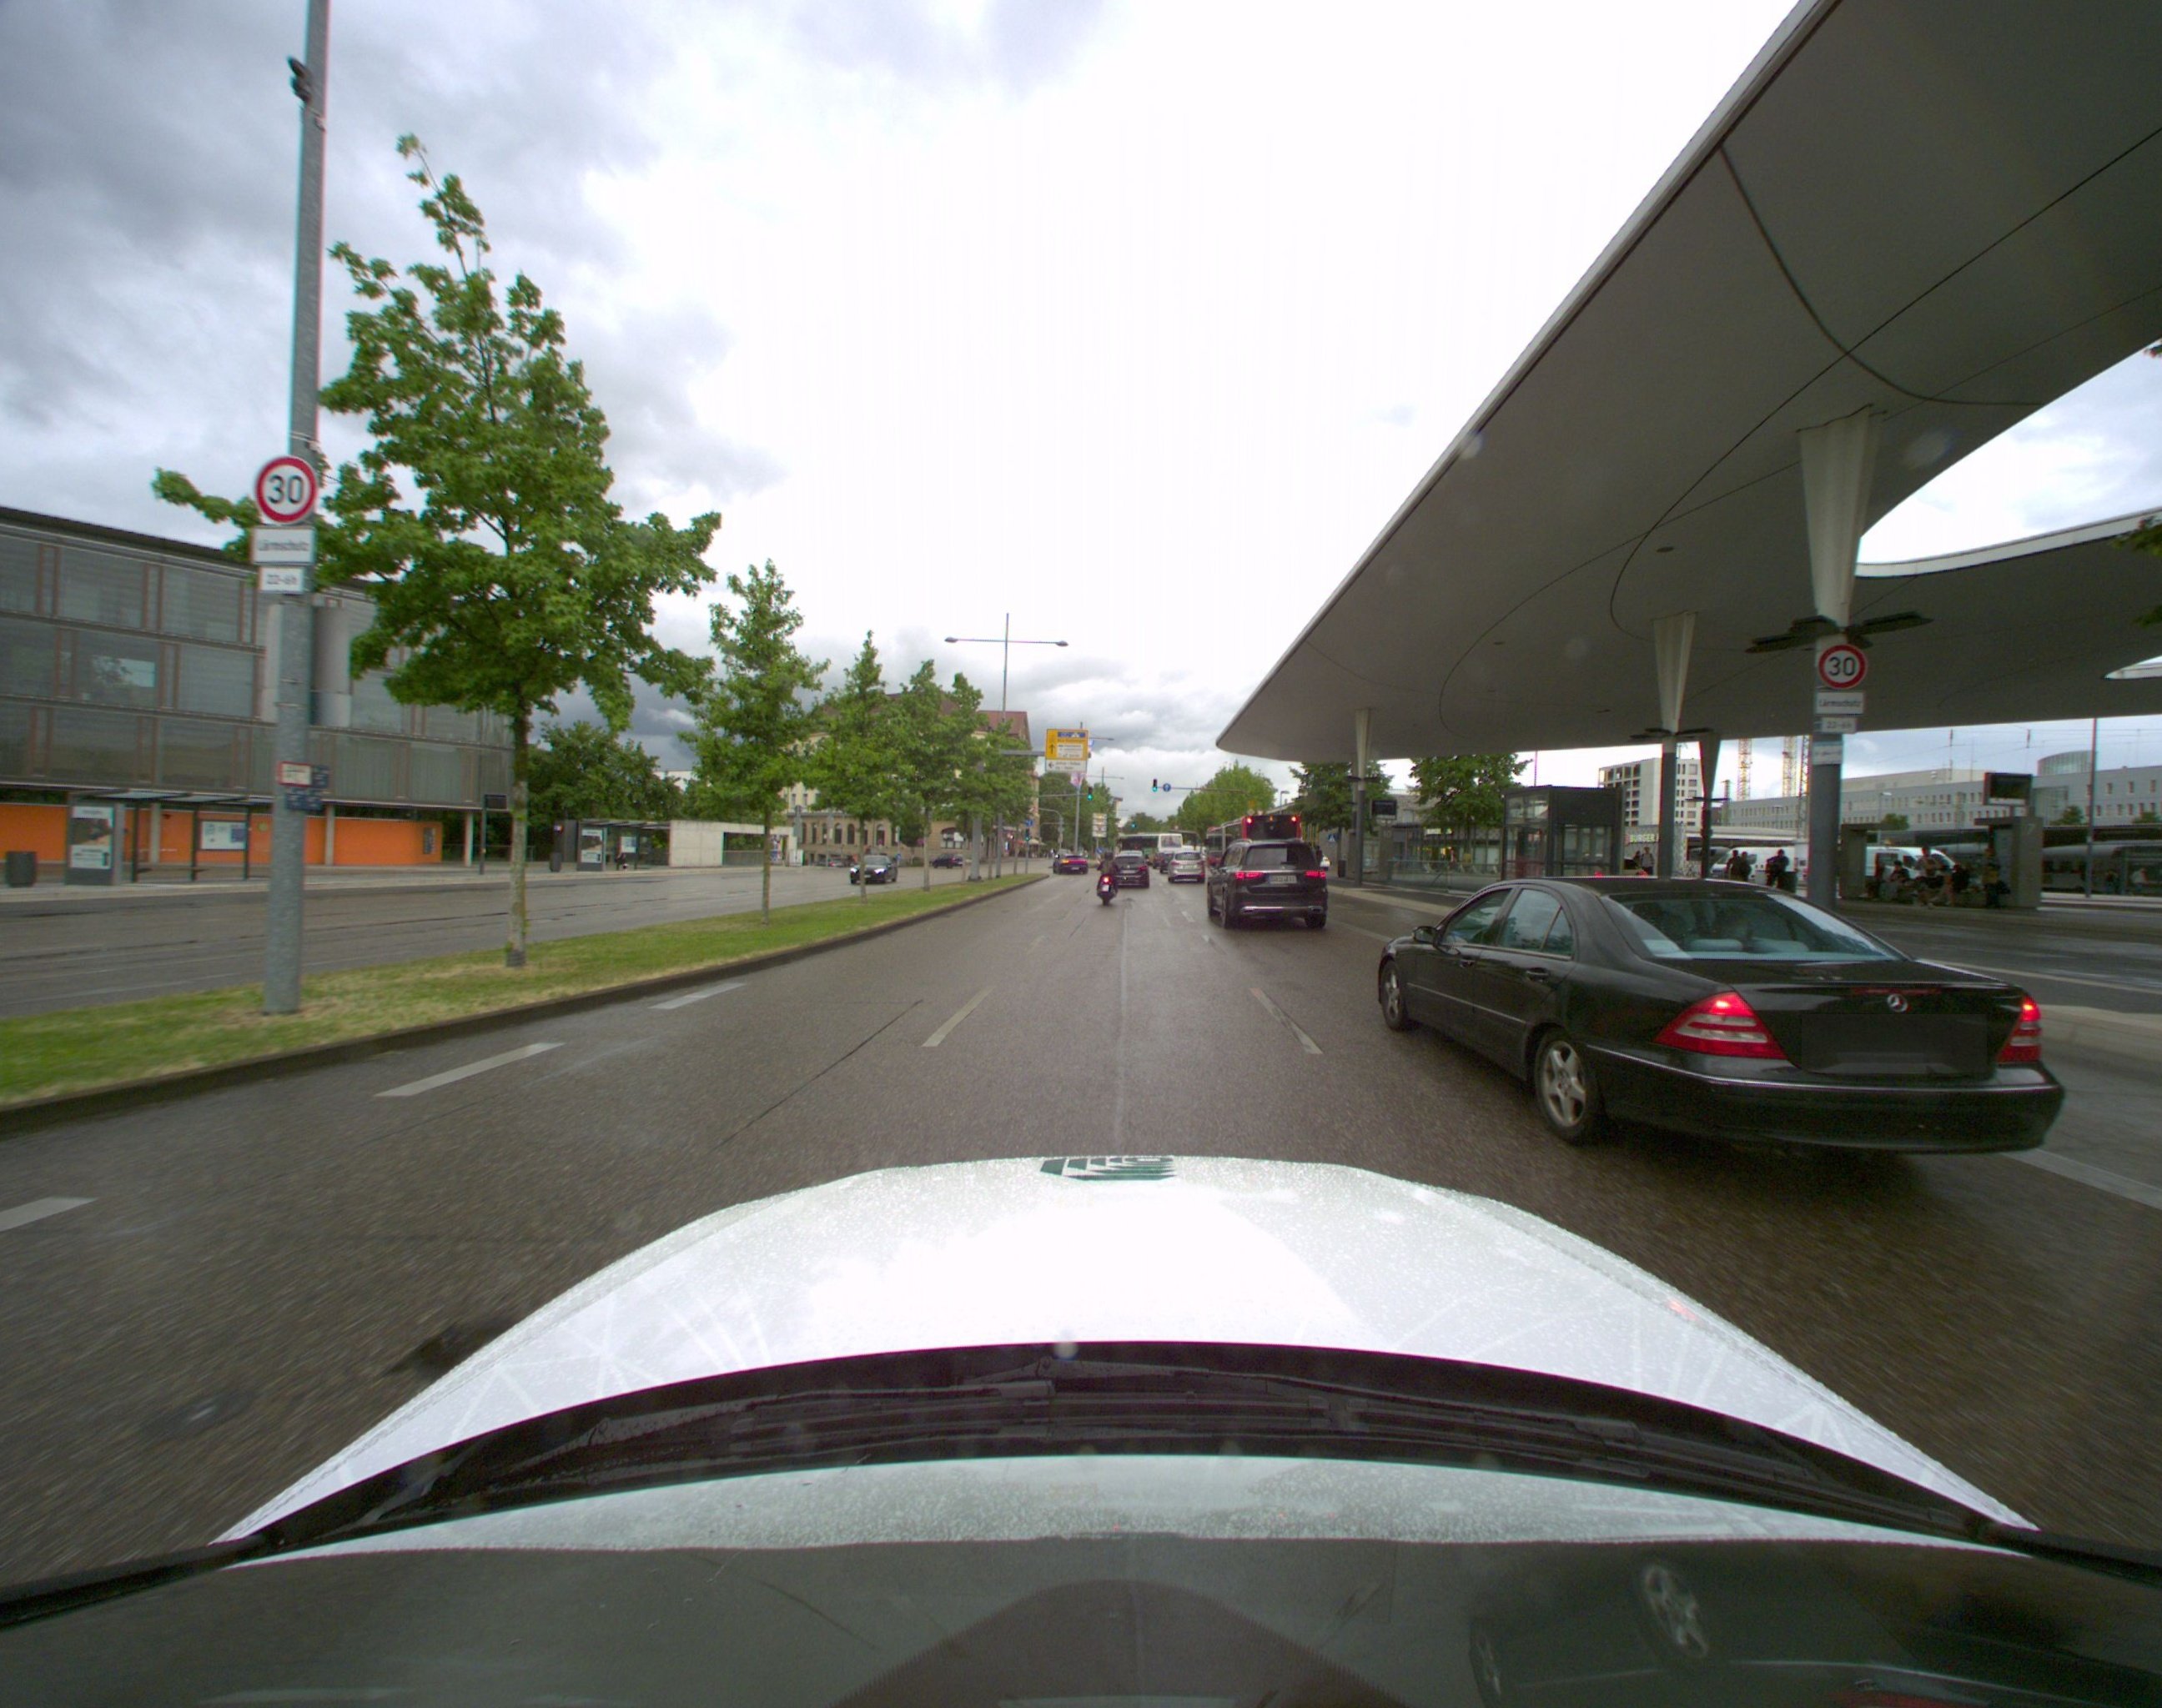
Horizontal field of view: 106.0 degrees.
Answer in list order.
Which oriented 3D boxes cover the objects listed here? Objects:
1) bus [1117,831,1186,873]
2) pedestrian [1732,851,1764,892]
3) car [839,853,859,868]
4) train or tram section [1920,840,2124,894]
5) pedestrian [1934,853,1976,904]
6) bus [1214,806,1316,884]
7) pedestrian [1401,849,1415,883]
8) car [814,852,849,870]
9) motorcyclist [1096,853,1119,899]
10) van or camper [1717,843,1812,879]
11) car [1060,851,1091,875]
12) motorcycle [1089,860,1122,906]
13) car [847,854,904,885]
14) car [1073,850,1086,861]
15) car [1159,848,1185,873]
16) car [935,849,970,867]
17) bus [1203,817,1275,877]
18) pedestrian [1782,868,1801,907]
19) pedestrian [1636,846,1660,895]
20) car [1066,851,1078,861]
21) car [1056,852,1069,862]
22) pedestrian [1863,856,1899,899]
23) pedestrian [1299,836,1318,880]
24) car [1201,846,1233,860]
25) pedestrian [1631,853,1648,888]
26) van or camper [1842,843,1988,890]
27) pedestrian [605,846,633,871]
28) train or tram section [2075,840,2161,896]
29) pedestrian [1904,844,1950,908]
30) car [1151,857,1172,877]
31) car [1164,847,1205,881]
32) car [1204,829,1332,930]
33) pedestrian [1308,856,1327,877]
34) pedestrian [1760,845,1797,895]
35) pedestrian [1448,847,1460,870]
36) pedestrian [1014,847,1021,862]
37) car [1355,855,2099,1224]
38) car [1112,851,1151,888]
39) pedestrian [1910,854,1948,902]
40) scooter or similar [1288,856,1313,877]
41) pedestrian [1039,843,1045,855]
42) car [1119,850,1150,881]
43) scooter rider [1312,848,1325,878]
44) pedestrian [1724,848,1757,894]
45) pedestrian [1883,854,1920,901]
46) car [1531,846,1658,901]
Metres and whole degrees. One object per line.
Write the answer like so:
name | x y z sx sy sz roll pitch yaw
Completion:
bus | 7.079 -0.162 83.977 2.844 3.988 11.794 1 0 -17
pedestrian | 26.172 0.687 31.963 0.582 1.578 0.766 7 -4 -29
car | -26.686 0.743 93.484 1.667 1.604 3.225 -2 1 -26
train or tram section | 74.792 0.930 65.375 3.119 3.659 11.624 5 0 3
pedestrian | 25.663 0.715 23.911 0.558 1.444 0.635 1 -1 0
bus | 8.655 -0.381 39.757 3.271 3.292 10.890 0 0 4
pedestrian | 16.411 0.598 40.867 0.569 1.678 0.586 0 -1 29
car | -27.387 0.729 89.208 3.951 1.684 1.882 2 -4 45
motorcyclist | 0.788 0.630 24.111 0.638 1.347 0.690 0 0 6
van or camper | 45.961 0.480 54.833 4.671 2.269 2.109 1 -1 -1
car | -0.322 0.586 55.681 1.808 1.570 4.408 -1 0 3
motorcycle | 0.733 0.824 23.882 0.789 1.262 1.858 -1 0 7
car | -10.648 0.777 42.478 1.674 1.528 4.640 1 0 1
car | -0.171 0.268 124.076 1.772 1.567 3.433 -1 0 3
car | 6.170 0.413 55.504 1.569 1.567 3.874 -1 0 3
car | -12.014 0.364 75.989 1.850 1.628 3.666 1 -1 -35
bus | 9.347 -0.395 49.224 3.276 3.289 8.859 0 0 4
pedestrian | 26.253 1.250 30.095 0.469 1.391 0.564 2 -5 38
pedestrian | 24.053 0.690 34.566 0.716 2.014 0.674 3 -4 29
car | -1.435 0.256 132.258 1.569 1.567 3.433 -1 0 3
car | -2.826 0.449 126.190 1.772 1.567 3.433 -1 0 3
pedestrian | 25.882 0.758 26.346 0.558 1.361 0.613 1 -1 0
pedestrian | 10.739 0.172 38.433 0.772 2.013 0.785 4 0 16
car | 16.325 -0.093 98.179 1.587 1.567 3.754 -1 0 -36
pedestrian | 26.195 0.762 38.164 0.574 1.578 0.564 2 -5 38
van or camper | 47.737 0.695 46.891 2.086 2.508 6.215 1 0 0
pedestrian | -25.493 0.255 44.923 0.967 1.267 0.854 5 1 24
train or tram section | 74.217 1.002 53.799 3.119 3.681 11.624 5 0 3
pedestrian | 23.082 0.590 22.228 0.559 1.692 0.613 2 0 -4
car | 6.610 1.030 67.500 1.569 1.567 3.799 -1 0 3
car | 5.117 0.456 40.542 1.733 1.567 3.874 -1 0 3
car | 3.921 0.479 17.950 1.949 1.876 4.878 -1 0 3
pedestrian | 12.177 0.654 41.854 0.906 0.985 0.636 2 -4 17
pedestrian | 24.903 0.555 29.074 0.704 1.707 0.770 -3 2 16
pedestrian | 27.057 0.325 59.069 0.601 1.578 0.674 4 -4 9
pedestrian | -9.051 0.065 116.037 0.727 2.013 0.820 0 0 -23
car | 3.324 0.747 5.441 1.691 1.462 4.306 0 0 2
car | 2.208 0.628 35.302 1.568 1.504 3.875 -1 0 4
pedestrian | 25.941 0.722 24.920 0.558 1.444 0.613 1 -1 0
scooter or similar | 11.373 0.643 42.142 1.233 1.013 0.767 1 -1 17
pedestrian | -6.325 -0.789 133.559 0.727 1.966 0.820 0 0 -23
car | 2.922 0.591 44.530 1.569 1.567 3.874 -1 0 3
scooter rider | 12.228 0.453 41.907 0.587 1.490 0.768 1 -1 17
pedestrian | 23.686 0.614 29.242 0.597 1.582 0.710 2 -2 -6
pedestrian | 25.886 0.743 25.689 0.558 1.444 0.613 1 -1 0
car | 17.169 0.615 27.491 1.705 1.662 4.242 2 0 2
